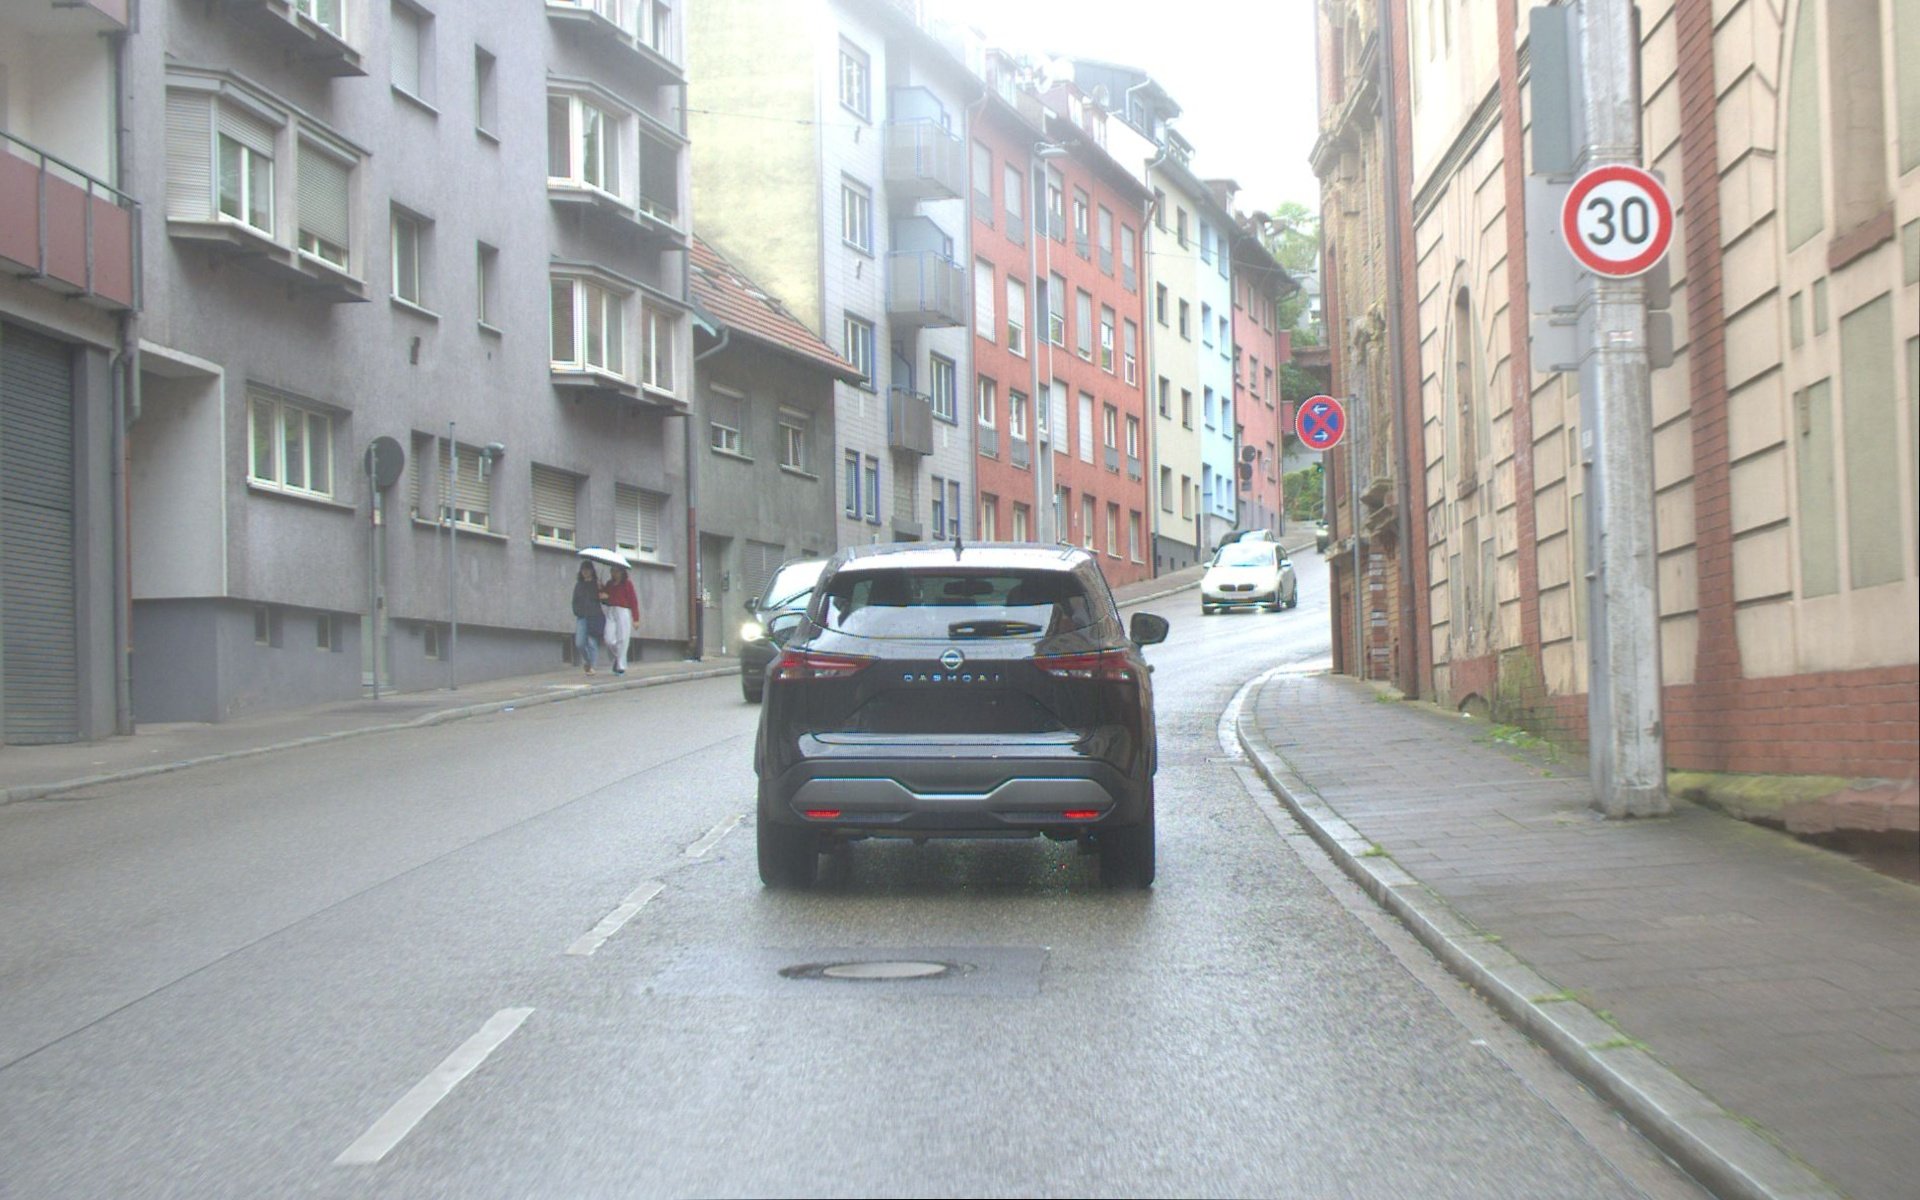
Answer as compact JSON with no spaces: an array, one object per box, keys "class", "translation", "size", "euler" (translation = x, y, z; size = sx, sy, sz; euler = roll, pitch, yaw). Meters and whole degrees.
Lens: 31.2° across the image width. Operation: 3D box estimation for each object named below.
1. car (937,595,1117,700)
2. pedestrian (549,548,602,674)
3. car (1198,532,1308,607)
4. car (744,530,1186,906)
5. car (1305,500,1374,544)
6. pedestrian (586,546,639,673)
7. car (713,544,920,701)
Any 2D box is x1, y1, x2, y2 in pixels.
[{"class":"car","translation":[1.089,0.734,53.701],"size":[1.795,1.505,3.997],"euler":[-3,-1,16]},{"class":"pedestrian","translation":[-5.530,0.157,49.482],"size":[0.523,1.770,0.622],"euler":[-3,1,7]},{"class":"car","translation":[6.766,-0.726,79.098],"size":[1.765,1.571,4.033],"euler":[-3,0,15]},{"class":"car","translation":[0.054,0.474,16.741],"size":[1.881,1.588,3.921],"euler":[1,1,1]},{"class":"car","translation":[13.176,-2.711,119.163],"size":[1.645,1.373,3.848],"euler":[-3,1,16]},{"class":"pedestrian","translation":[-4.994,0.131,49.415],"size":[0.523,1.770,0.622],"euler":[-3,1,7]},{"class":"car","translation":[-1.604,0.227,39.867],"size":[1.764,1.652,3.986],"euler":[-3,0,6]}]
